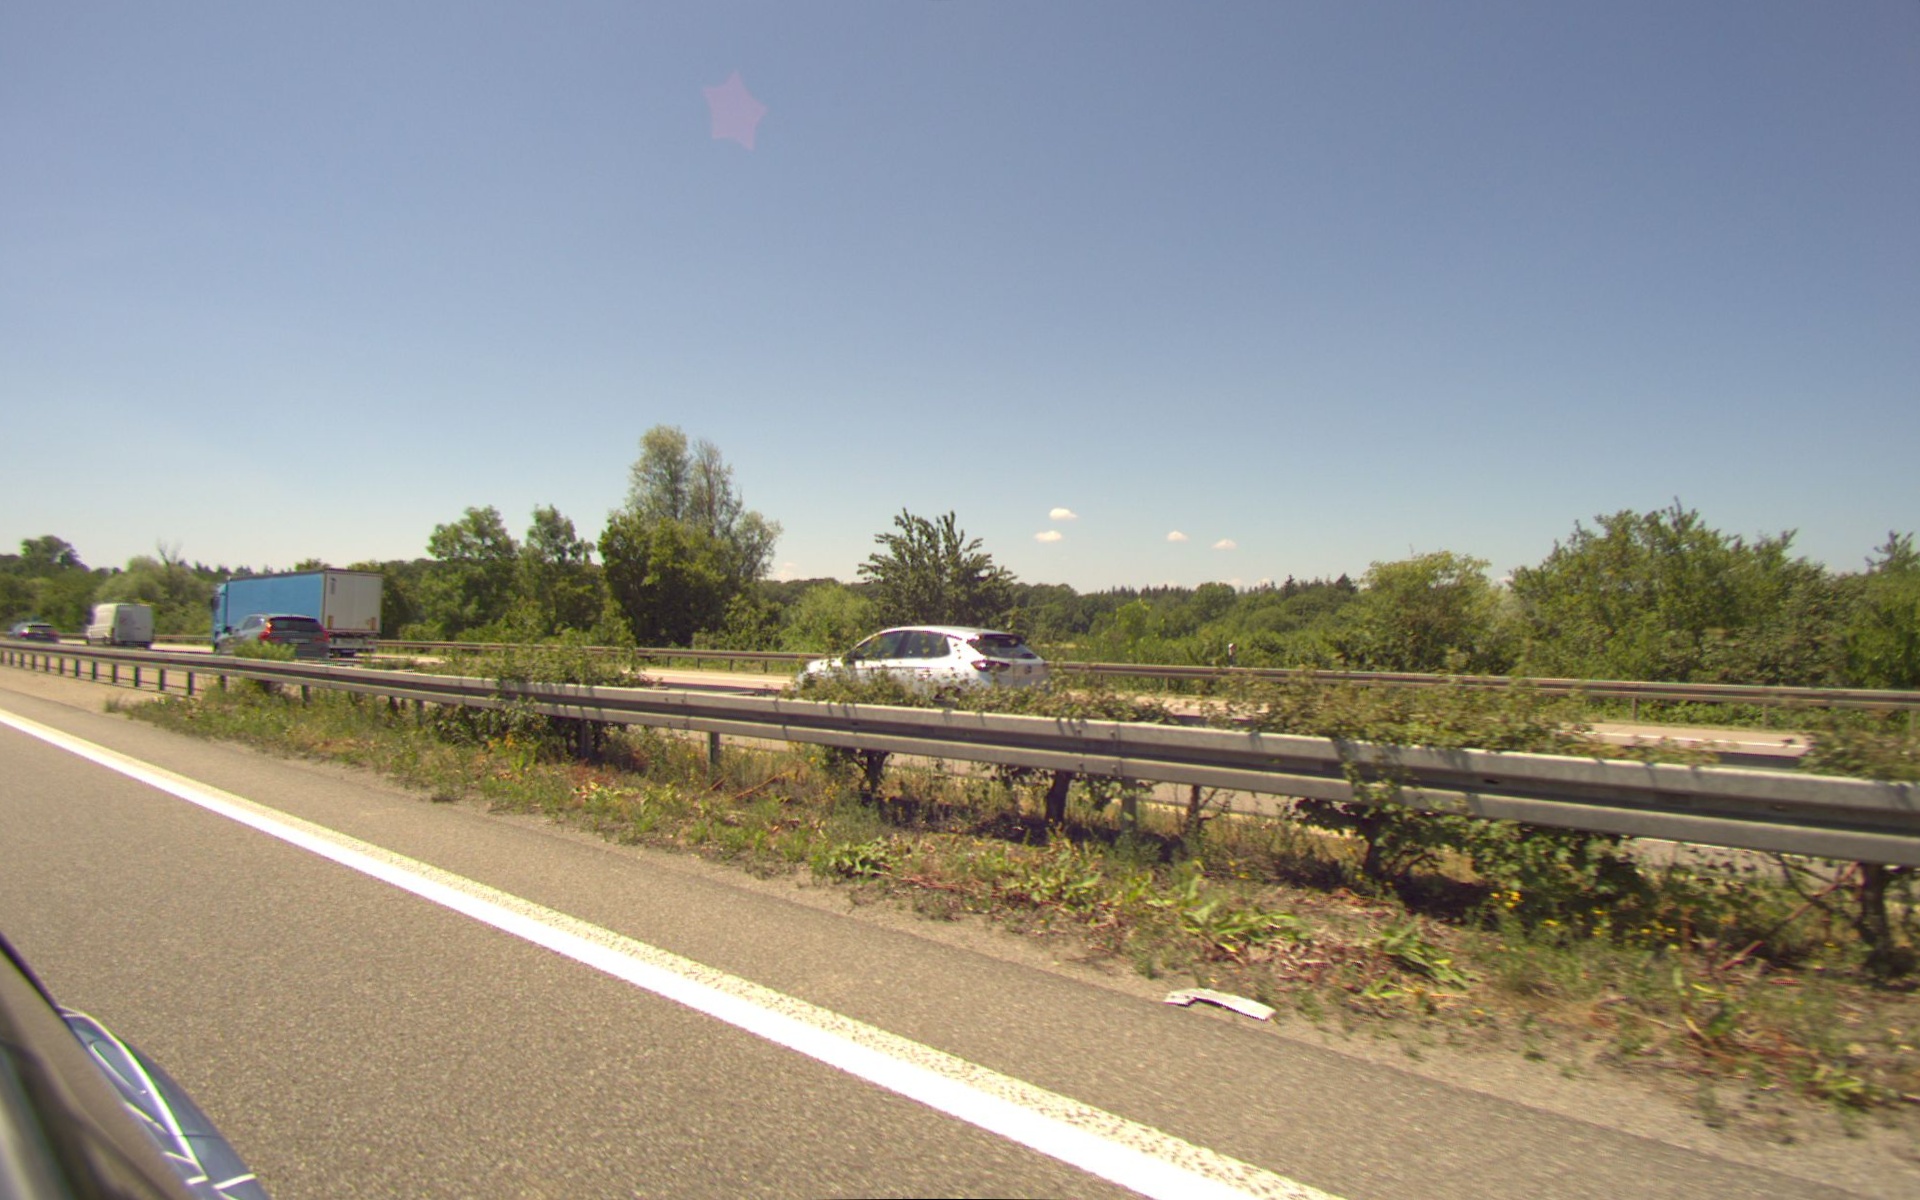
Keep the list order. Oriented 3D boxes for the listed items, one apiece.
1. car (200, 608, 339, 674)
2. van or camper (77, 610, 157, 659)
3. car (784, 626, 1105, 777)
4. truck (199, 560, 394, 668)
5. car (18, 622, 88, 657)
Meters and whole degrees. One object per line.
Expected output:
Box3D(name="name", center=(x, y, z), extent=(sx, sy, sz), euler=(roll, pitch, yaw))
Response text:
Box3D(name="car", center=(-19.988, 1.152, 29.214), extent=(5.103, 1.744, 1.973), euler=(-1, -2, 40))
Box3D(name="van or camper", center=(-47.355, 1.925, 56.775), extent=(7.026, 2.585, 1.974), euler=(-1, -4, 39))
Box3D(name="car", center=(-0.294, 1.237, 13.790), extent=(4.089, 1.744, 1.973), euler=(-1, -2, 40))
Box3D(name="truck", center=(-34.229, 0.846, 51.629), extent=(16.841, 4.756, 3.194), euler=(-1, -4, 39))
Box3D(name="car", center=(-46.716, 2.042, 52.101), extent=(4.404, 1.703, 1.973), euler=(-1, -3, 40))
